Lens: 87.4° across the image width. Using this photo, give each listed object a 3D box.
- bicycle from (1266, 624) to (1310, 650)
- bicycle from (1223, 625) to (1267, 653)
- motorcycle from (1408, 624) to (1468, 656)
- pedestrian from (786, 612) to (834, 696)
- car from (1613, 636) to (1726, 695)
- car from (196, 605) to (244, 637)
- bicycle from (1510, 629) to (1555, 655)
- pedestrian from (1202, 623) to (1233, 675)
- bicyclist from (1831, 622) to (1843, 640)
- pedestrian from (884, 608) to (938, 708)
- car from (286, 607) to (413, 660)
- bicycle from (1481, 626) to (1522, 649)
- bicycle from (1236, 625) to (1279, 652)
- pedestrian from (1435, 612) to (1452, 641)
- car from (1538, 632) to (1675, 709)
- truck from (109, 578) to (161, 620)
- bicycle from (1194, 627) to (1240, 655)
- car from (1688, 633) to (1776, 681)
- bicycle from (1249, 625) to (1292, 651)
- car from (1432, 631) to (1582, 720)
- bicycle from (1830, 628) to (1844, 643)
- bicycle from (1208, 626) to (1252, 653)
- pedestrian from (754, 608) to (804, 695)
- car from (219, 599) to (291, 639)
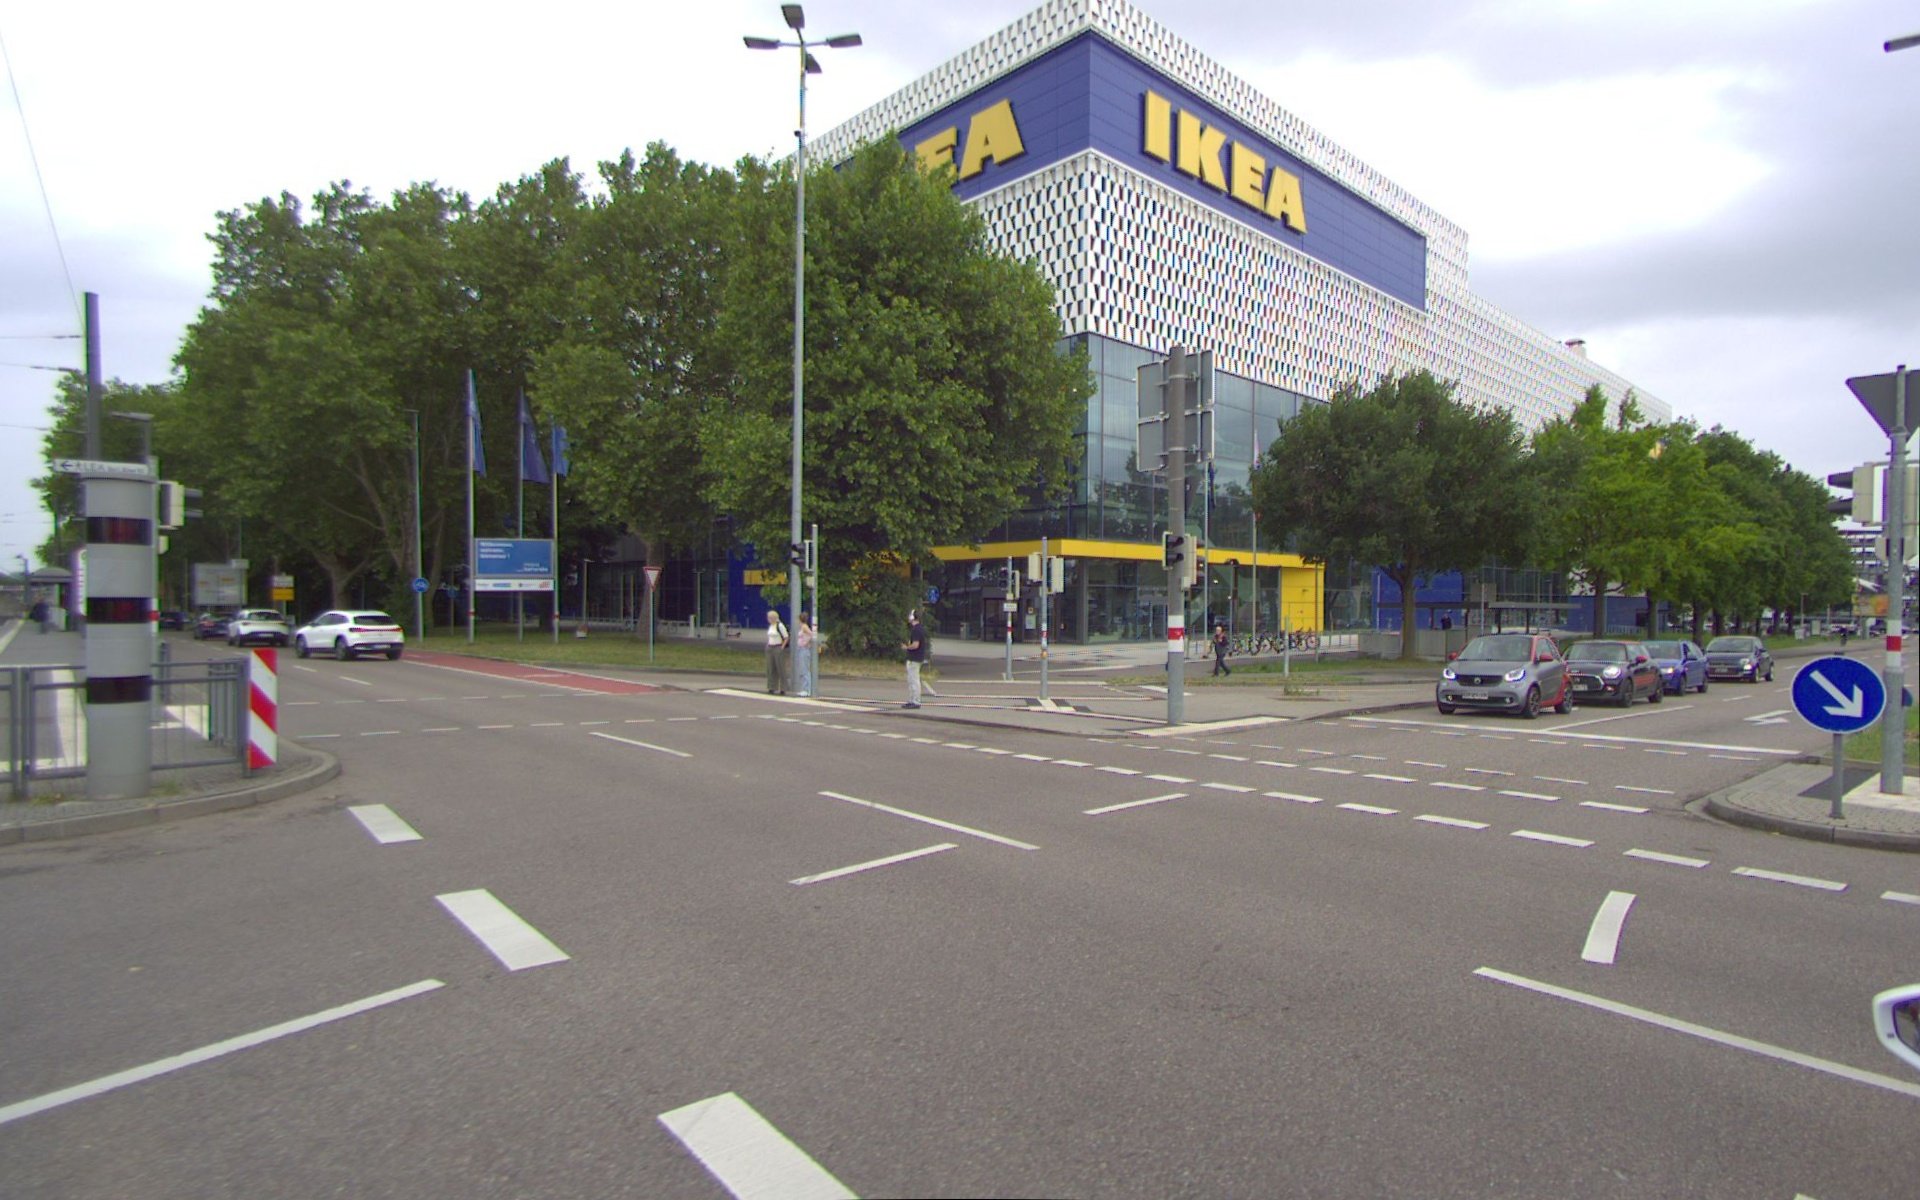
[{"bbox_3d":[16.612,1.881,50.912,1.989,1.172,0.591,3,2,37],"label":"bicycle"},{"bbox_3d":[13.722,1.870,48.459,0.589,1.172,1.997,0,2,-42],"label":"bicycle"},{"bbox_3d":[23.048,1.922,48.449,2.460,1.374,0.797,3,2,37],"label":"motorcycle"},{"bbox_3d":[-3.177,1.133,21.325,0.759,1.734,0.668,1,0,-37],"label":"pedestrian"},{"bbox_3d":[19.074,1.692,26.935,4.112,1.463,1.588,2,-3,-42],"label":"car"},{"bbox_3d":[-38.928,1.102,52.835,1.622,1.536,3.379,4,-1,-43],"label":"car"},{"bbox_3d":[29.683,2.162,52.104,0.586,1.172,2.008,1,2,-26],"label":"bicycle"},{"bbox_3d":[8.507,1.605,33.135,0.804,1.664,0.627,3,-1,-44],"label":"pedestrian"},{"bbox_3d":[77.294,2.716,88.502,0.992,1.598,0.634,0,2,-41],"label":"bicyclist"},{"bbox_3d":[-0.902,1.073,18.547,0.683,1.787,0.656,6,-6,-43],"label":"pedestrian"},{"bbox_3d":[-20.454,1.098,33.628,4.334,1.606,1.889,1,-1,32],"label":"car"},{"bbox_3d":[28.629,1.953,53.121,0.589,1.096,1.794,1,2,-40],"label":"bicycle"},{"bbox_3d":[14.549,1.883,49.179,0.589,1.172,1.997,0,2,-42],"label":"bicycle"},{"bbox_3d":[29.793,1.615,61.868,0.802,1.769,0.671,0,1,-41],"label":"pedestrian"},{"bbox_3d":[14.615,1.511,22.618,4.036,1.523,1.646,2,-1,-43],"label":"car"},{"bbox_3d":[-79.100,-0.031,96.230,3.239,3.711,9.772,3,-2,-42],"label":"truck"},{"bbox_3d":[11.953,1.902,46.735,1.988,1.172,0.592,3,2,33],"label":"bicycle"},{"bbox_3d":[25.741,1.857,33.443,4.007,1.517,1.588,2,-3,-42],"label":"car"},{"bbox_3d":[15.412,1.866,49.924,0.589,1.172,1.997,0,2,-42],"label":"bicycle"},{"bbox_3d":[10.530,1.368,19.272,3.186,1.522,1.588,1,-2,-43],"label":"car"},{"bbox_3d":[77.258,3.133,88.516,2.040,1.268,0.637,0,2,-42],"label":"bicycle"},{"bbox_3d":[12.835,1.869,47.810,0.589,1.172,1.997,0,2,-42],"label":"bicycle"},{"bbox_3d":[-3.900,1.109,21.653,0.666,1.821,0.761,1,-1,44],"label":"pedestrian"},{"bbox_3d":[-31.434,0.826,44.735,4.084,1.606,1.788,1,-2,43],"label":"car"}]
